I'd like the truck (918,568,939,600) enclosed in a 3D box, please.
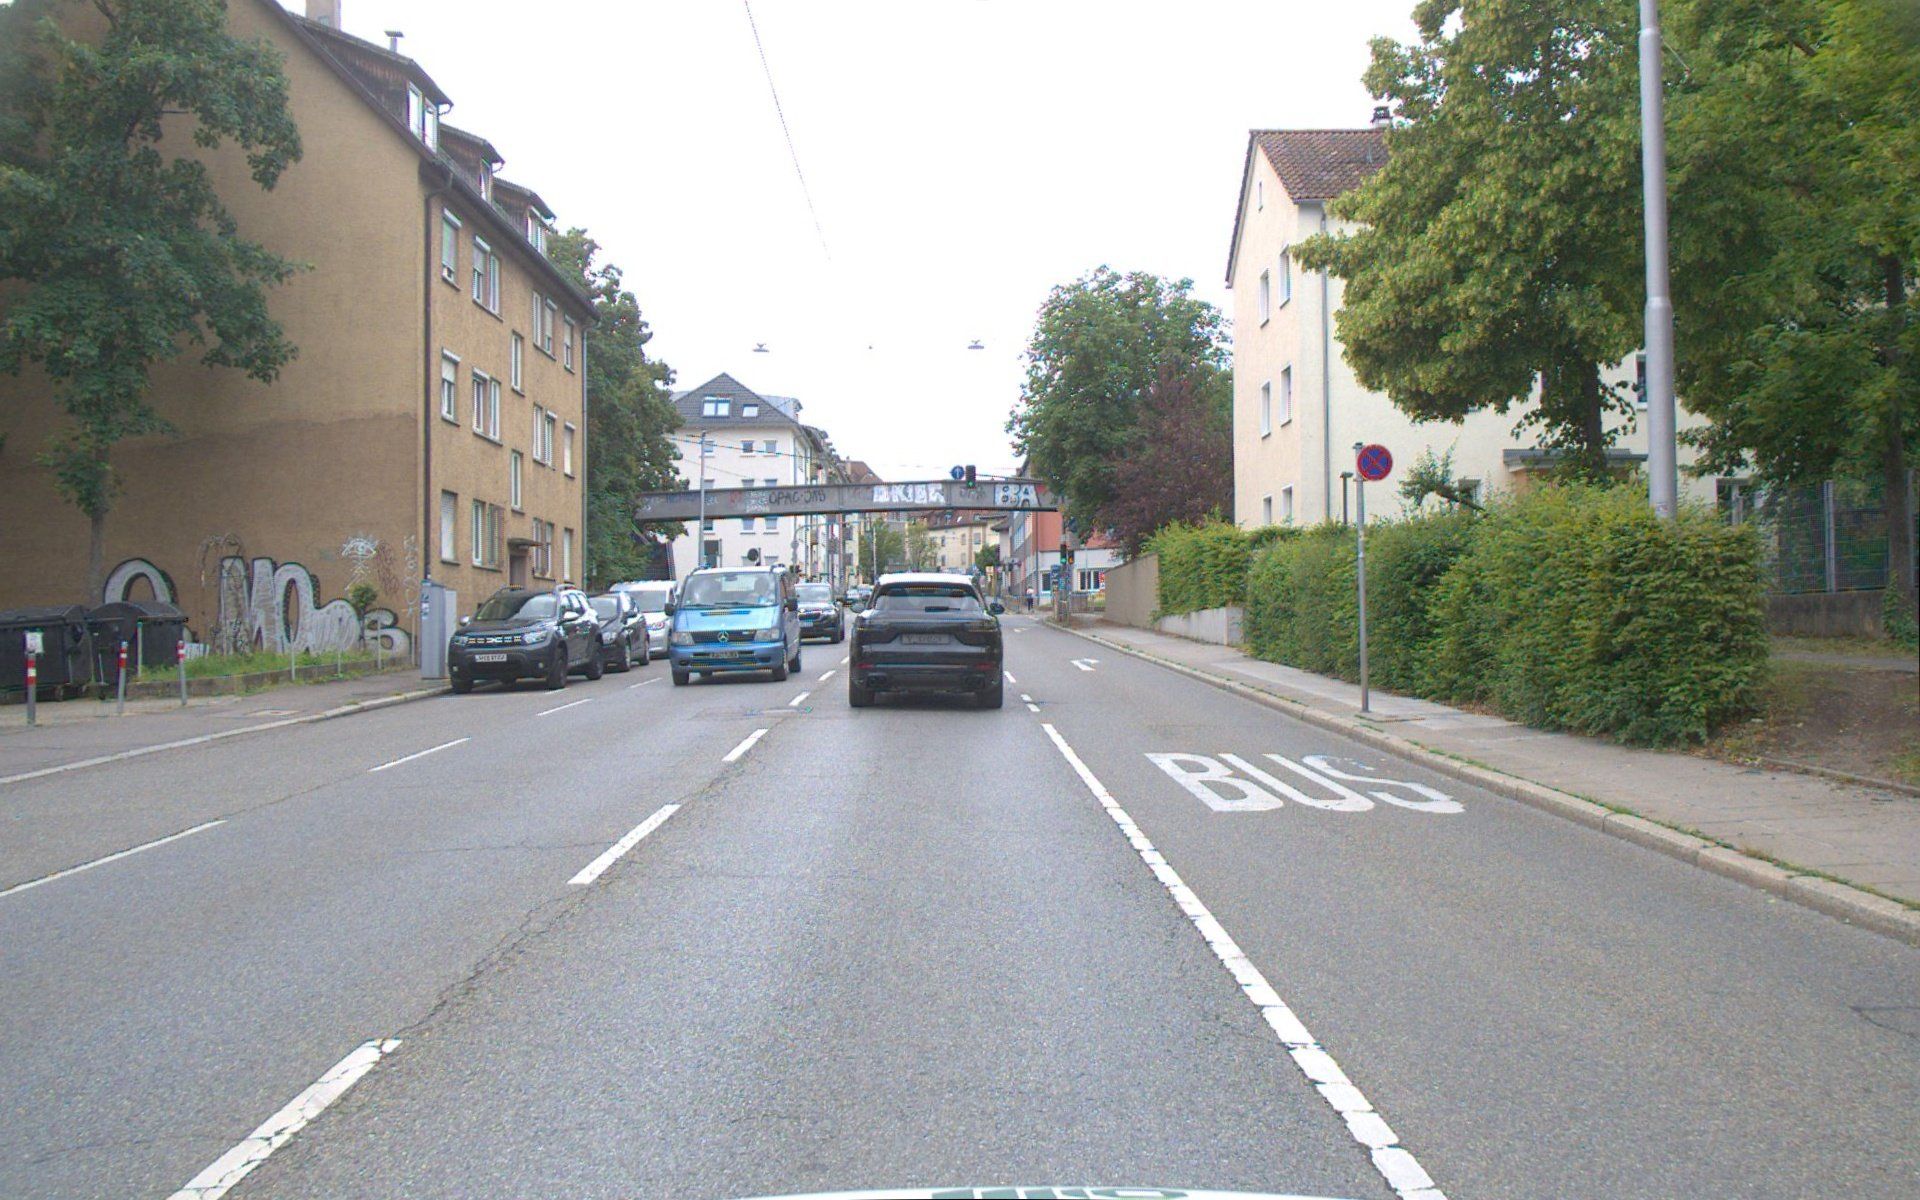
[{"bbox_3d":[-3.574,-1.822,188.689,2.221,3.484,9.876,-1,0,-1],"label":"truck"}]

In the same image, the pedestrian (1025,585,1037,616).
[{"bbox_3d":[4.187,0.018,97.249,0.639,1.823,0.714,0,0,-3],"label":"pedestrian"}]

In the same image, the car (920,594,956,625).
[{"bbox_3d":[-1.081,0.435,82.082,1.706,1.424,4.000,0,1,-1],"label":"car"}]

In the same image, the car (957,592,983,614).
[{"bbox_3d":[0.664,0.173,111.654,1.706,1.424,4.000,0,1,-1],"label":"car"}]

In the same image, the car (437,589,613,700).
[{"bbox_3d":[-7.257,0.691,28.044,1.746,1.637,4.265,-3,0,0],"label":"car"}]

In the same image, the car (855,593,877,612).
[{"bbox_3d":[-8.627,0.251,152.279,1.729,1.679,4.000,-1,0,0],"label":"car"}]

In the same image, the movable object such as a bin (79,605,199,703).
[{"bbox_3d":[-12.561,0.806,25.351,1.256,1.453,1.278,0,0,-5],"label":"movable object such as a bin"}]

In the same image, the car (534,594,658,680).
[{"bbox_3d":[-7.261,0.692,33.362,1.716,1.557,4.097,-2,0,-3],"label":"car"}]

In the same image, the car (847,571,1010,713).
[{"bbox_3d":[-0.394,0.467,21.854,1.953,1.691,4.000,0,1,-1],"label":"car"}]

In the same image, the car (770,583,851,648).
[{"bbox_3d":[-3.979,0.385,44.622,1.803,1.618,4.163,-2,0,-1],"label":"car"}]

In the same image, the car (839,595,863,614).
[{"bbox_3d":[-8.937,0.381,135.794,1.729,1.534,4.000,-1,0,0],"label":"car"}]

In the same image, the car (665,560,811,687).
[{"bbox_3d":[-3.668,0.346,28.091,1.891,1.934,4.589,-1,1,-1],"label":"car"}]

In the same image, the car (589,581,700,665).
[{"bbox_3d":[-7.344,0.491,38.883,1.740,1.784,4.557,-2,0,-1],"label":"car"}]

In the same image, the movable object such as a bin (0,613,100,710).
[{"bbox_3d":[-14.208,0.936,25.567,1.365,1.453,0.912,0,0,-3],"label":"movable object such as a bin"}]

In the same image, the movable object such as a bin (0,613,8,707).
[{"bbox_3d":[-15.617,0.936,25.489,1.365,1.453,0.912,0,0,-3],"label":"movable object such as a bin"}]
